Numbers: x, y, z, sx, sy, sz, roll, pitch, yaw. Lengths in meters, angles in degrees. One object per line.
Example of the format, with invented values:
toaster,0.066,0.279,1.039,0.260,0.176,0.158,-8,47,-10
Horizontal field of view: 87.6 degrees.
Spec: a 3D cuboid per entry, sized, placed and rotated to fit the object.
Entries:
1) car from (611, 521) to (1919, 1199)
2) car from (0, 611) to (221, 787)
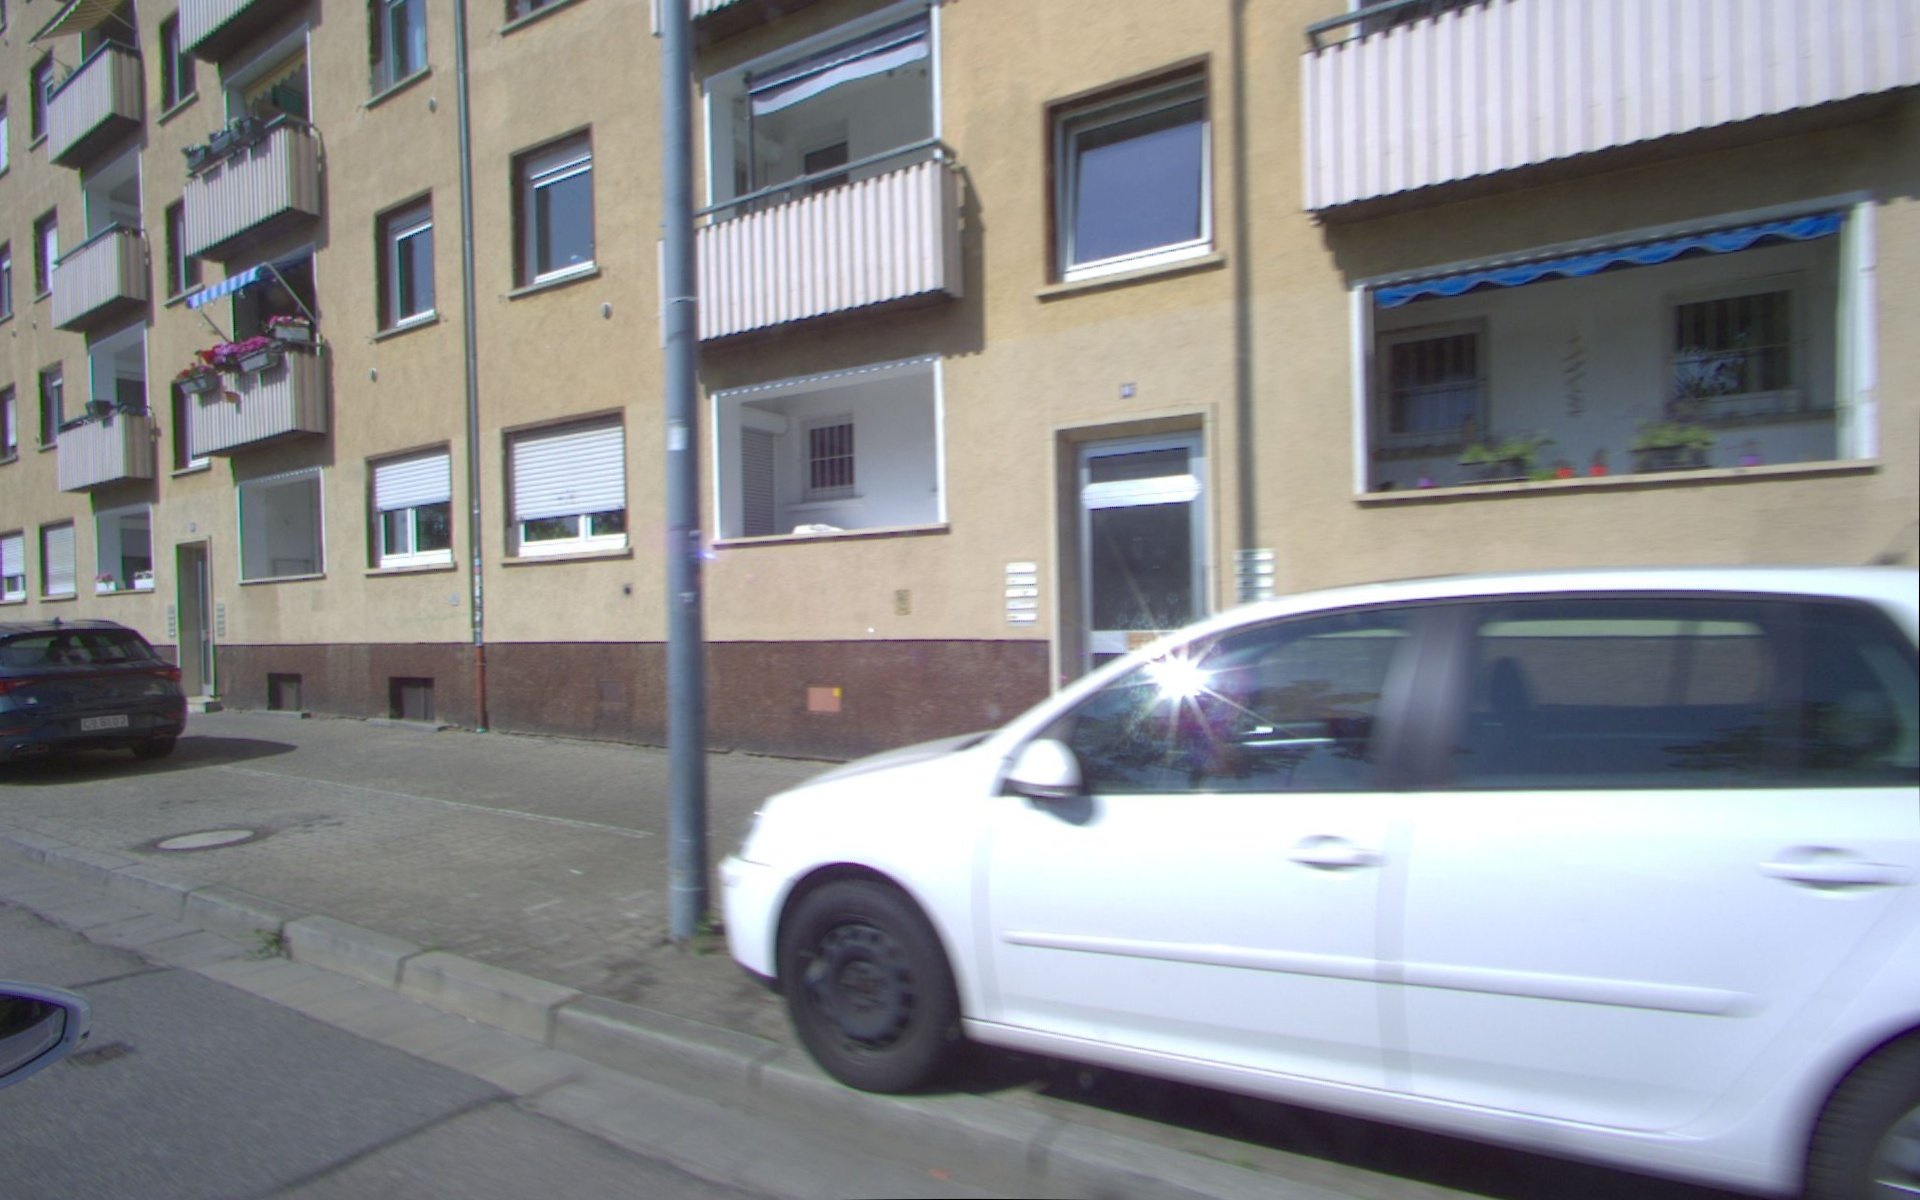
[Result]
car,1.041,0.638,3.119,4.065,1.526,1.754,-1,0,29
car,-9.698,0.885,10.207,4.521,1.457,1.798,-1,0,30
